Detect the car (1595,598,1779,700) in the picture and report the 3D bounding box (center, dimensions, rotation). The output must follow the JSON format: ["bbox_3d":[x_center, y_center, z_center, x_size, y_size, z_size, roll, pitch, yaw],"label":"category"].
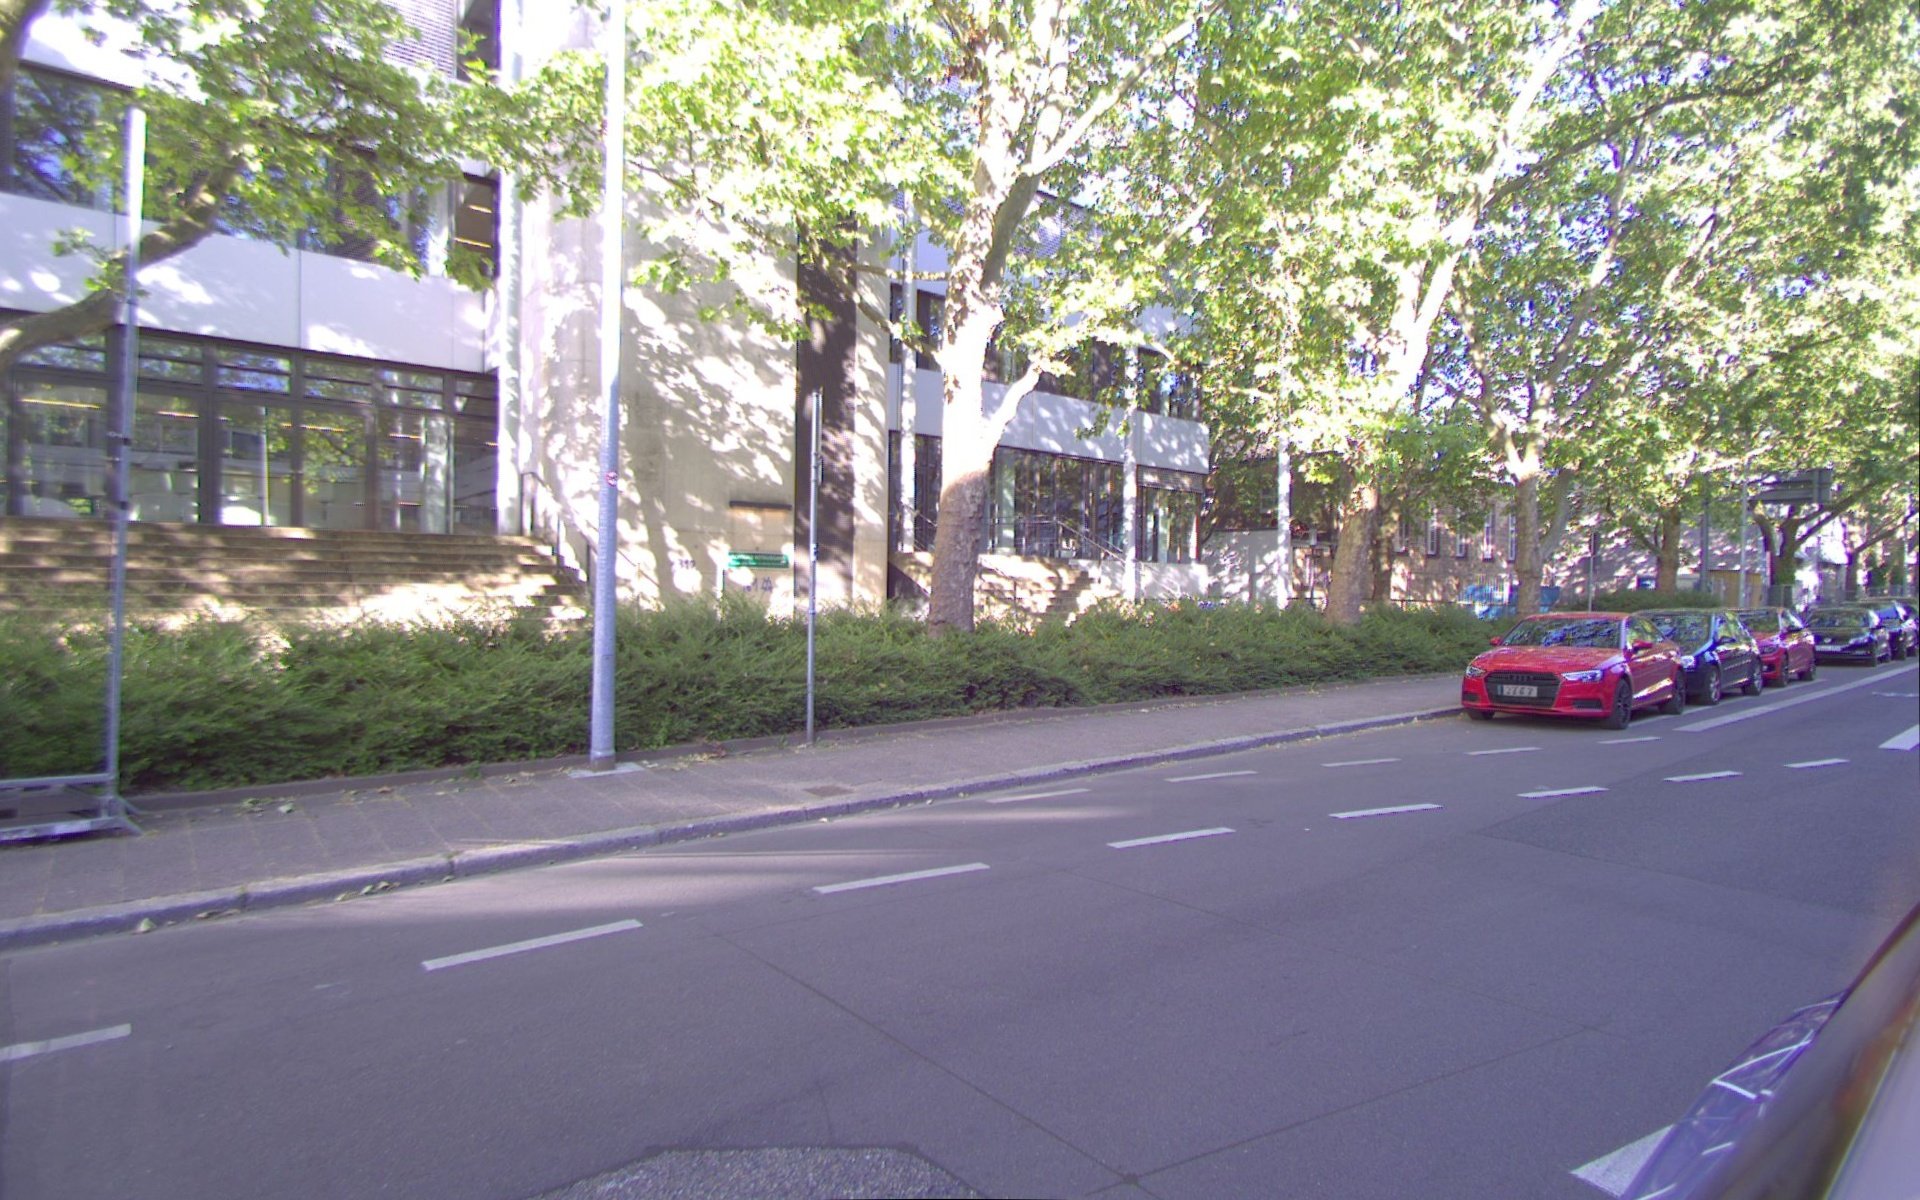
[{"bbox_3d":[11.933,0.713,16.540,3.674,1.483,1.634,0,-1,-41],"label":"car"}]

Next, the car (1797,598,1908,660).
[{"bbox_3d":[22.923,0.690,25.956,3.674,1.483,1.634,0,-1,-41],"label":"car"}]

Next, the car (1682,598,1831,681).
[{"bbox_3d":[15.742,0.718,19.941,3.674,1.483,1.634,0,-1,-41],"label":"car"}]

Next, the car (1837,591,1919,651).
[{"bbox_3d":[26.582,0.577,29.012,3.777,1.607,1.634,0,-1,-41],"label":"car"}]

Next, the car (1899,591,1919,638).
[{"bbox_3d":[35.938,0.522,37.238,3.777,1.675,1.634,0,-1,-41],"label":"car"}]

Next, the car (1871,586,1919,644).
[{"bbox_3d":[31.142,0.467,33.035,3.777,1.828,1.634,0,-1,-41],"label":"car"}]

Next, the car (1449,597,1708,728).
[{"bbox_3d":[8.336,0.718,13.515,4.053,1.483,1.802,0,-1,-41],"label":"car"}]
